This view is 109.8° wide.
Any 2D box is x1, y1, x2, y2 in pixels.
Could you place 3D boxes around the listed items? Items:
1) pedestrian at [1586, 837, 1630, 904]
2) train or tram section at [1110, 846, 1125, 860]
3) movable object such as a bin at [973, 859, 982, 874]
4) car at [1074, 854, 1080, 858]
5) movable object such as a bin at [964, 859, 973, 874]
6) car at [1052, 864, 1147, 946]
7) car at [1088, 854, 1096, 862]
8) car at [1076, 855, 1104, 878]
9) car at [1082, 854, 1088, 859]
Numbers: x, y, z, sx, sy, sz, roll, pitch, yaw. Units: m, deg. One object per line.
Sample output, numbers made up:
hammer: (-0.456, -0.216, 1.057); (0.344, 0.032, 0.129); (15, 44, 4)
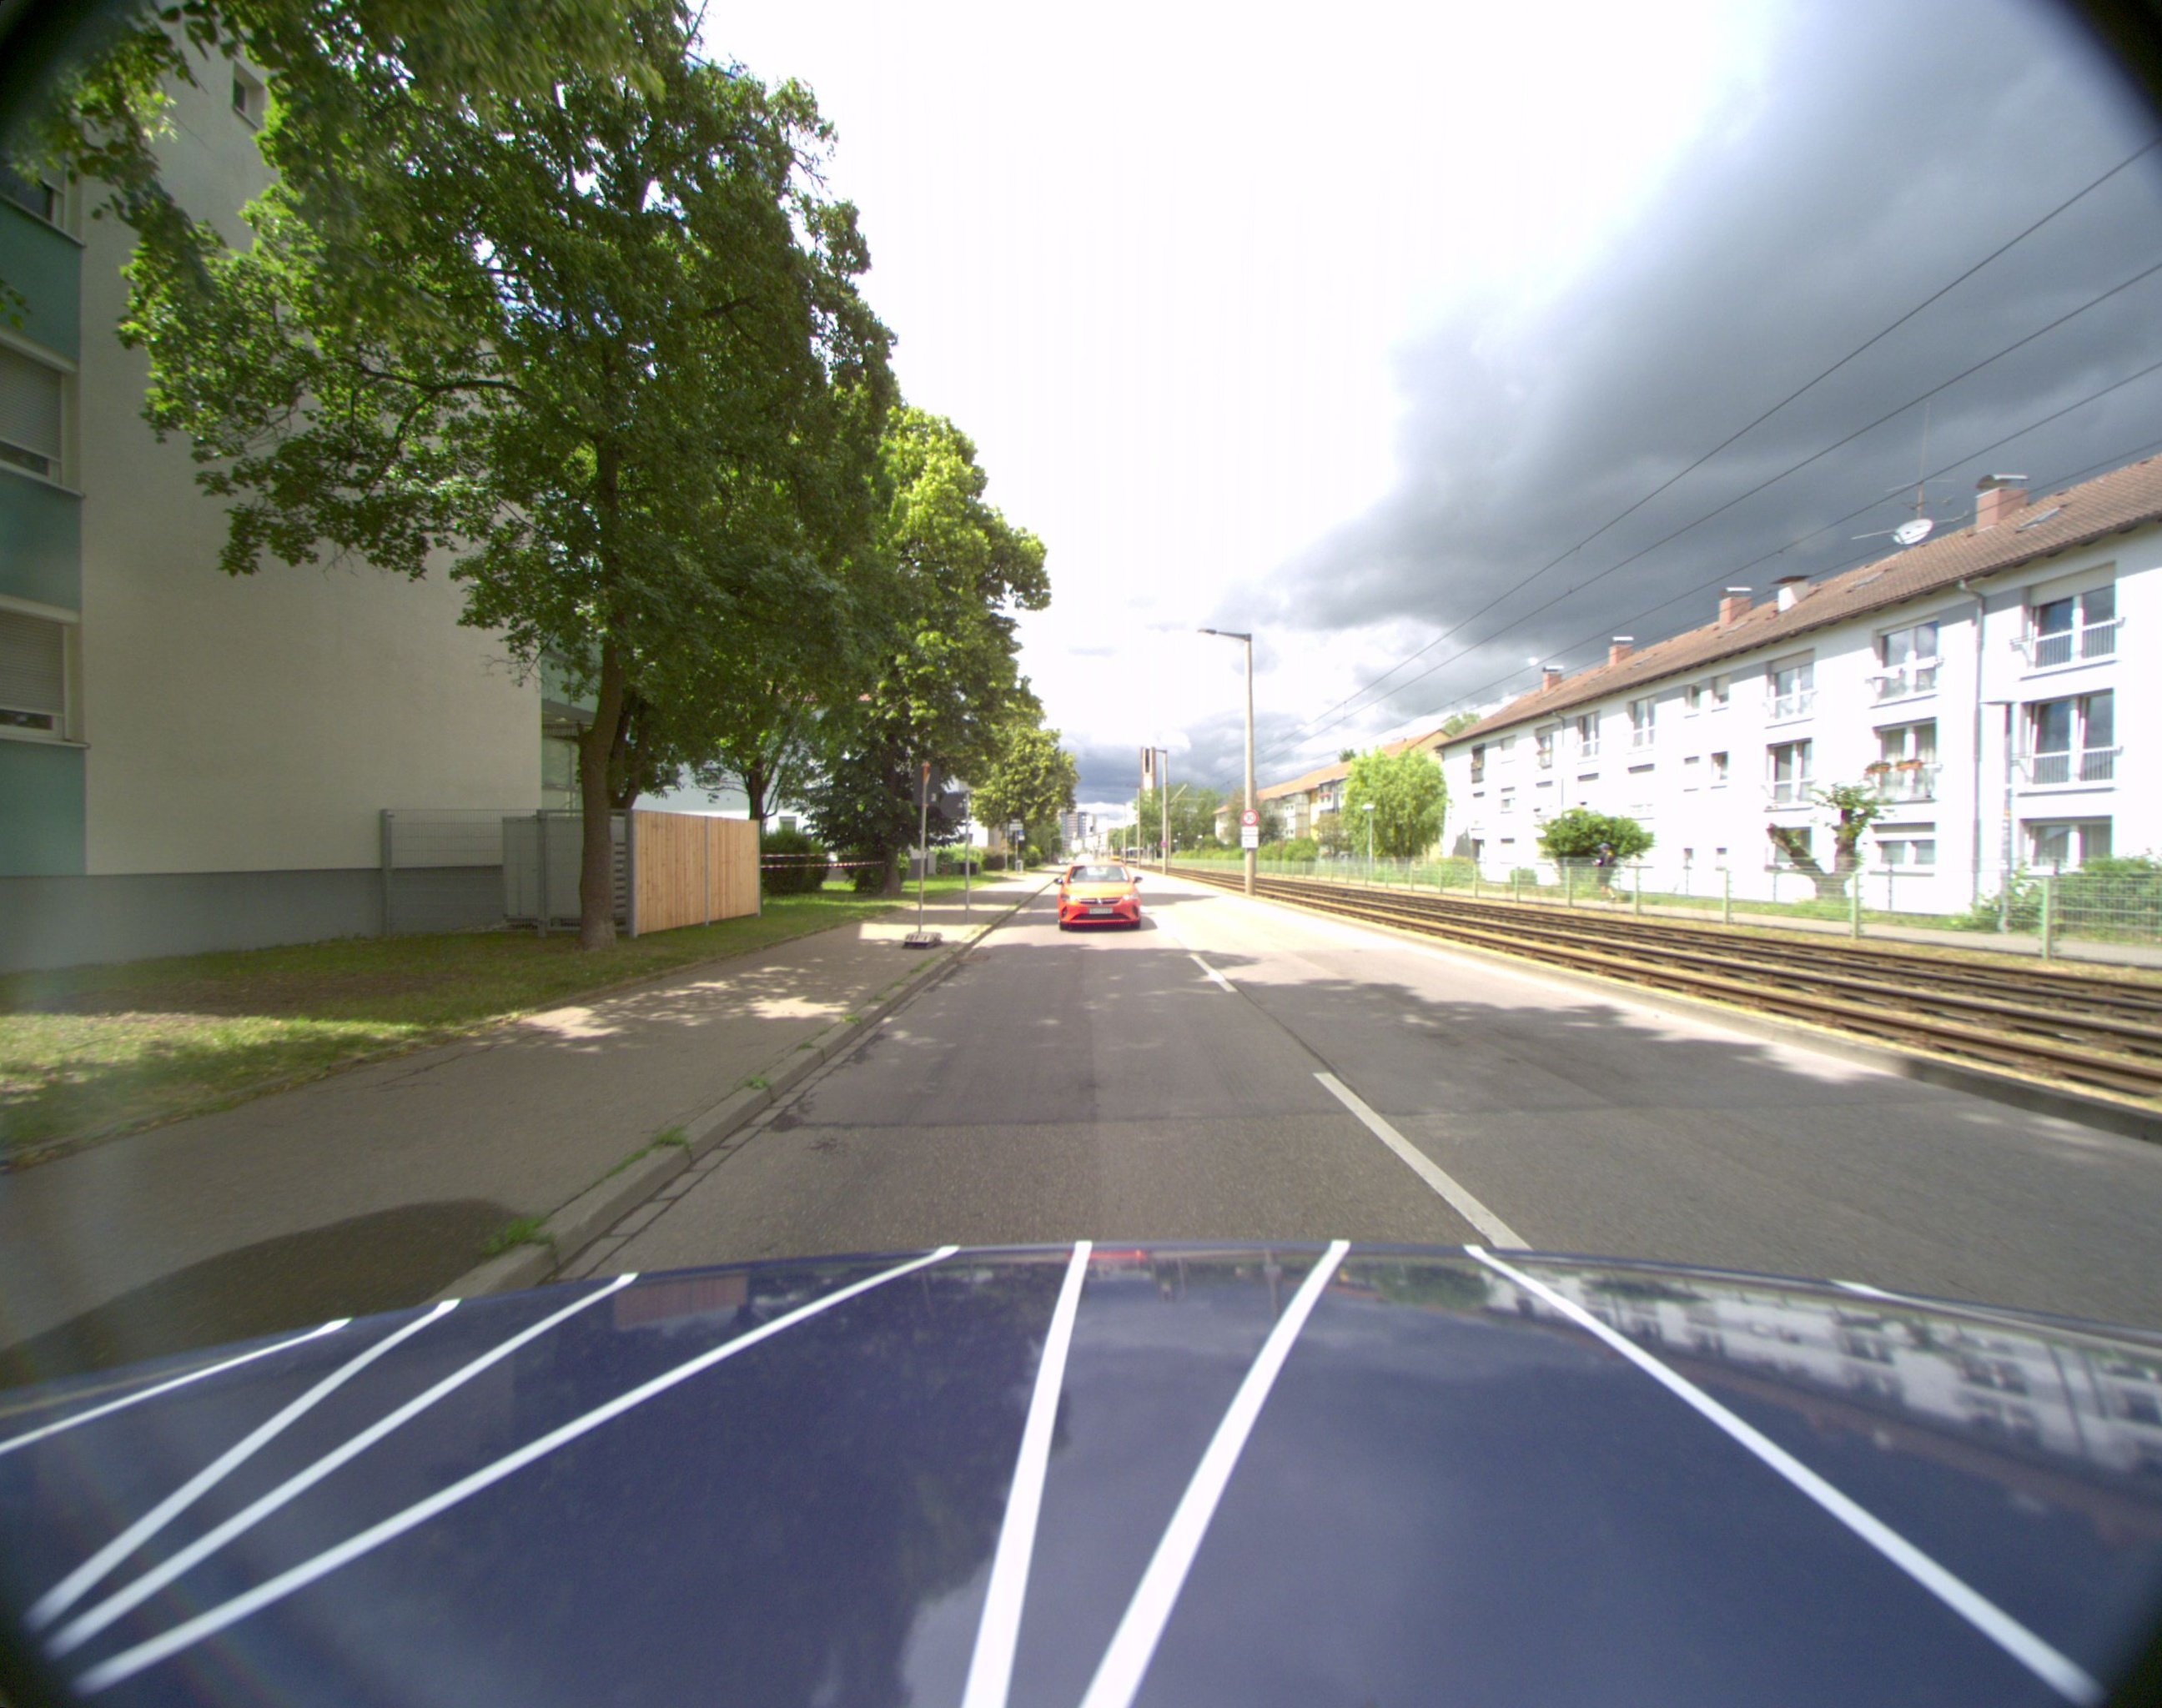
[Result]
pedestrian: (14.784, 0.445, 21.335); (0.661, 1.838, 0.768); (1, 0, 1)
train or tram section: (10.356, -0.318, 217.047); (2.988, 3.840, 18.535); (-2, 0, -1)
movable object such as a bin: (-6.690, 0.790, 49.160); (0.497, 0.949, 0.580); (1, 0, 1)
car: (-1.304, 0.669, 251.187); (1.765, 1.543, 3.999); (-1, 0, -3)
movable object such as a bin: (-7.284, 0.785, 49.087); (0.501, 0.941, 0.551); (1, 0, 1)
car: (0.373, 0.988, 16.325); (1.756, 1.433, 4.226); (-1, 0, 1)
car: (2.158, 0.761, 150.265); (1.628, 1.516, 3.581); (-1, 0, 0)
car: (0.603, 0.836, 51.122); (1.756, 1.433, 4.226); (-1, 0, 1)
car: (1.268, 0.735, 230.802); (1.633, 1.424, 4.166); (-1, 0, -3)
